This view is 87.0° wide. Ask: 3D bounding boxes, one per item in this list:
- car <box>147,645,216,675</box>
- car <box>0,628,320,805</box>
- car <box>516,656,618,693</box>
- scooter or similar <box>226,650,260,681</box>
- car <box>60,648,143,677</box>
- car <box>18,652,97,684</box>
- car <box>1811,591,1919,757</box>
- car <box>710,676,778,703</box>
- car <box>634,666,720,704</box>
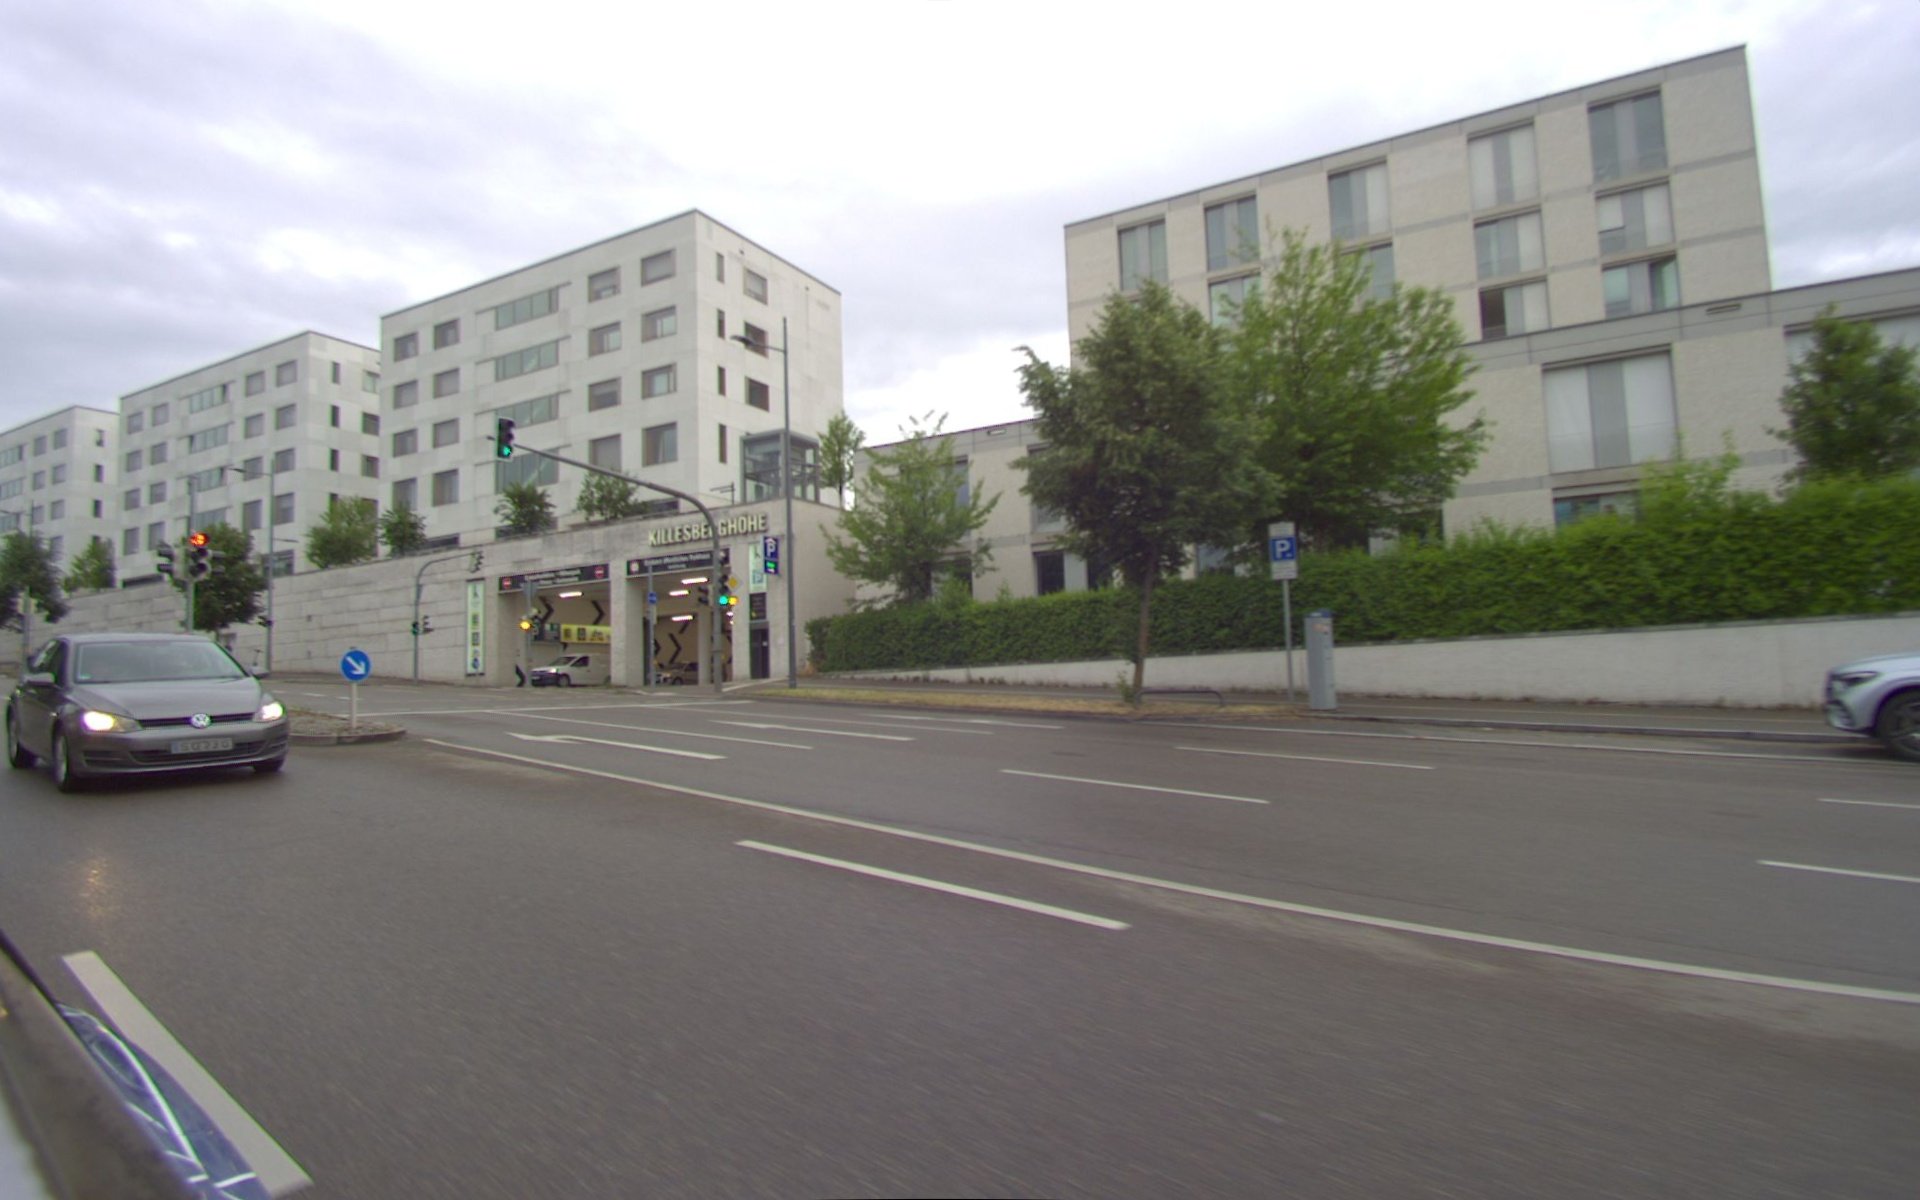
[{"bbox_3d":[-38.706,2.987,50.347,2.681,1.470,1.666,-1,-4,26],"label":"car"},{"bbox_3d":[-8.420,1.049,10.415,4.292,1.452,1.852,-2,-3,40],"label":"car"},{"bbox_3d":[-18.625,3.496,48.159,1.989,1.664,4.308,-1,-4,26],"label":"car"},{"bbox_3d":[-35.136,3.210,49.599,1.258,1.479,0.429,1,-3,-30],"label":"scooter or similar"},{"bbox_3d":[-44.449,3.229,52.418,3.979,1.489,1.847,-2,-3,27],"label":"car"},{"bbox_3d":[-48.600,3.657,54.505,3.979,1.644,1.774,-1,-4,27],"label":"car"},{"bbox_3d":[11.422,0.682,9.682,4.885,1.666,1.744,-3,-2,44],"label":"car"},{"bbox_3d":[-12.587,5.208,59.279,1.601,1.455,4.159,-2,-4,28],"label":"car"},{"bbox_3d":[-13.870,4.139,49.820,1.793,1.785,3.960,-2,-4,29],"label":"car"}]
